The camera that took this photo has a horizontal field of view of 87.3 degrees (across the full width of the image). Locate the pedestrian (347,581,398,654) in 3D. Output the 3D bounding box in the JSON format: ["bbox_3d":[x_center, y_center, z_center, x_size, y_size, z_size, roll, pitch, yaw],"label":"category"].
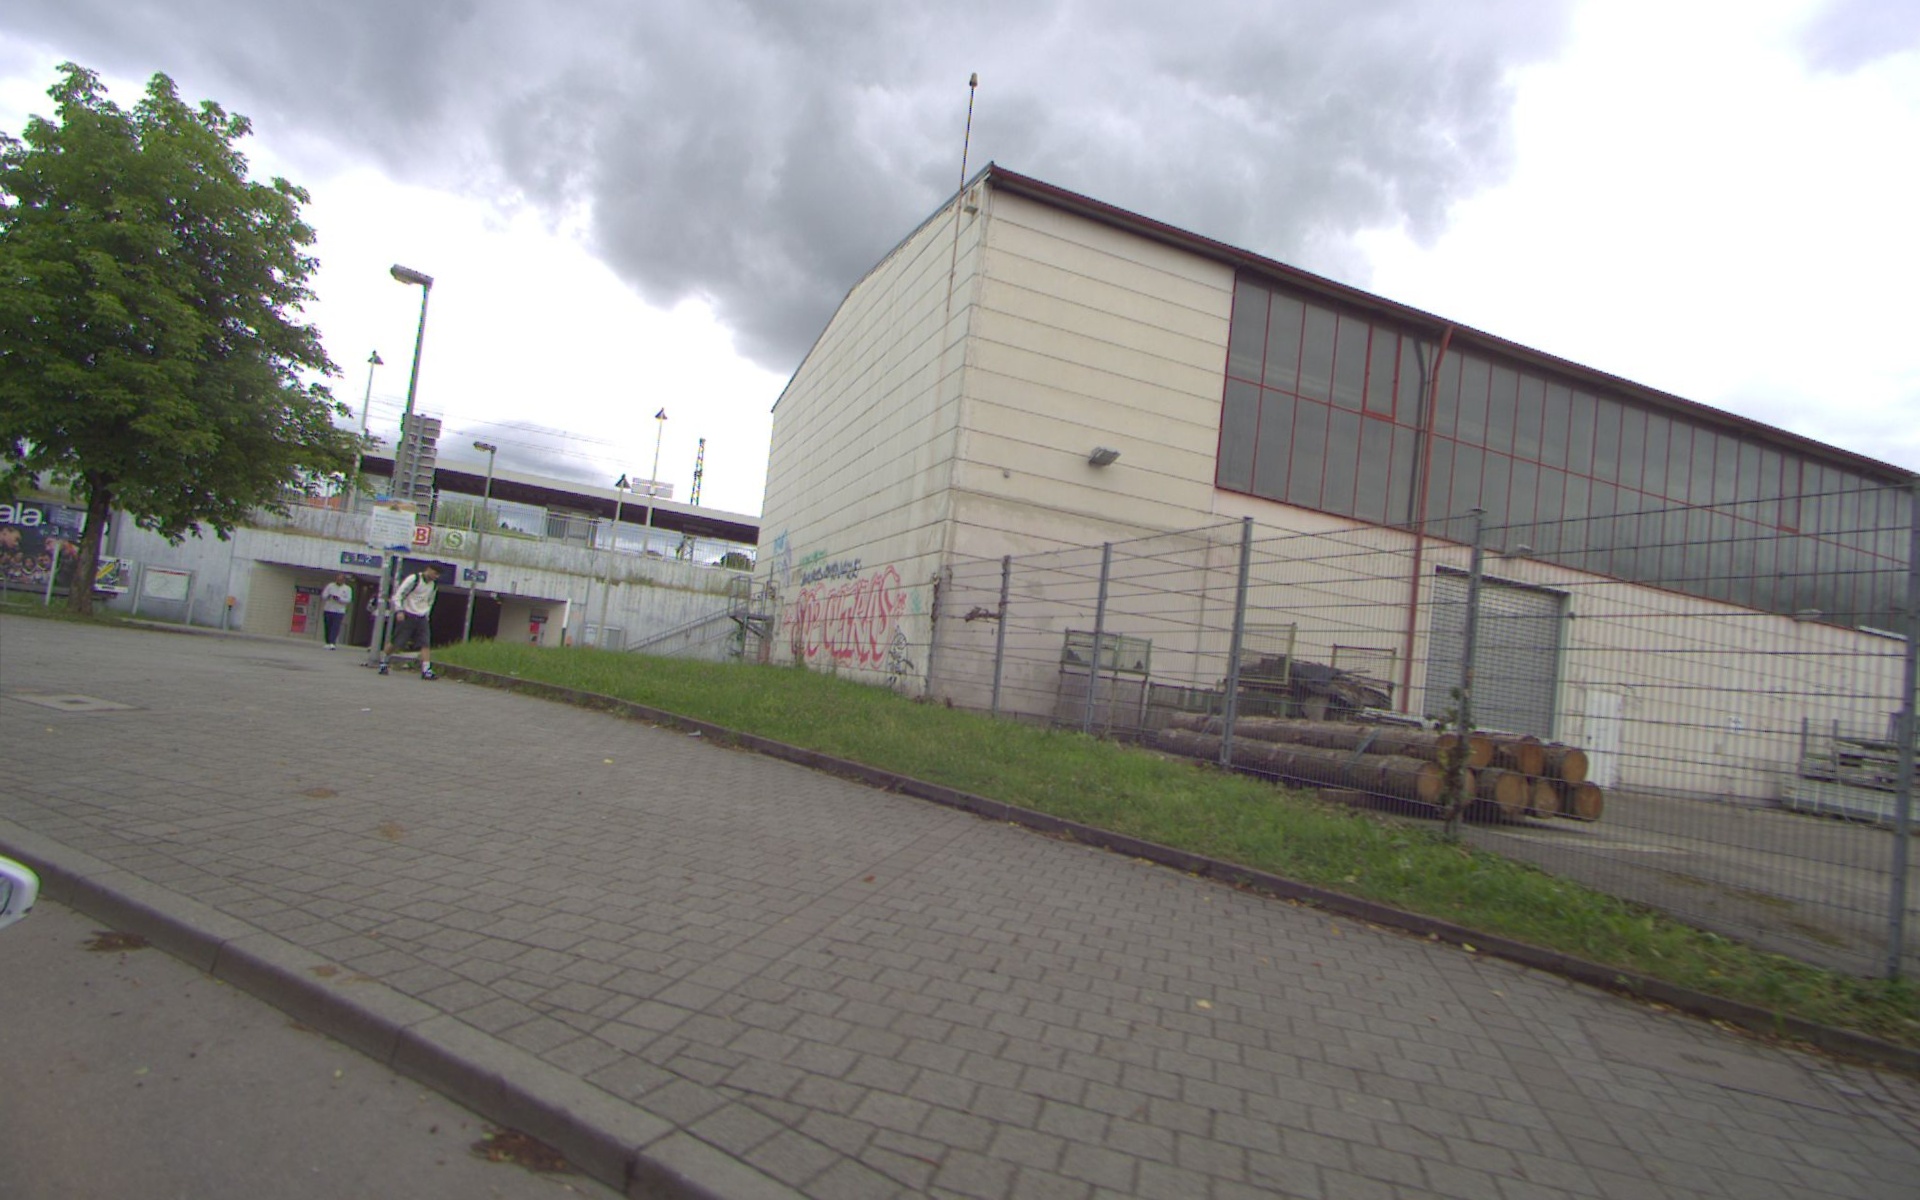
[{"bbox_3d":[-13.663,0.408,23.395,0.795,1.600,0.795,8,-4,-35],"label":"pedestrian"}]

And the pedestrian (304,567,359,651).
[{"bbox_3d":[-13.843,0.199,22.163,0.810,1.721,0.742,8,-4,-36],"label":"pedestrian"}]

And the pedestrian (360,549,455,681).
[{"bbox_3d":[-7.669,0.214,13.951,0.844,1.703,0.931,8,-4,-39],"label":"pedestrian"}]
